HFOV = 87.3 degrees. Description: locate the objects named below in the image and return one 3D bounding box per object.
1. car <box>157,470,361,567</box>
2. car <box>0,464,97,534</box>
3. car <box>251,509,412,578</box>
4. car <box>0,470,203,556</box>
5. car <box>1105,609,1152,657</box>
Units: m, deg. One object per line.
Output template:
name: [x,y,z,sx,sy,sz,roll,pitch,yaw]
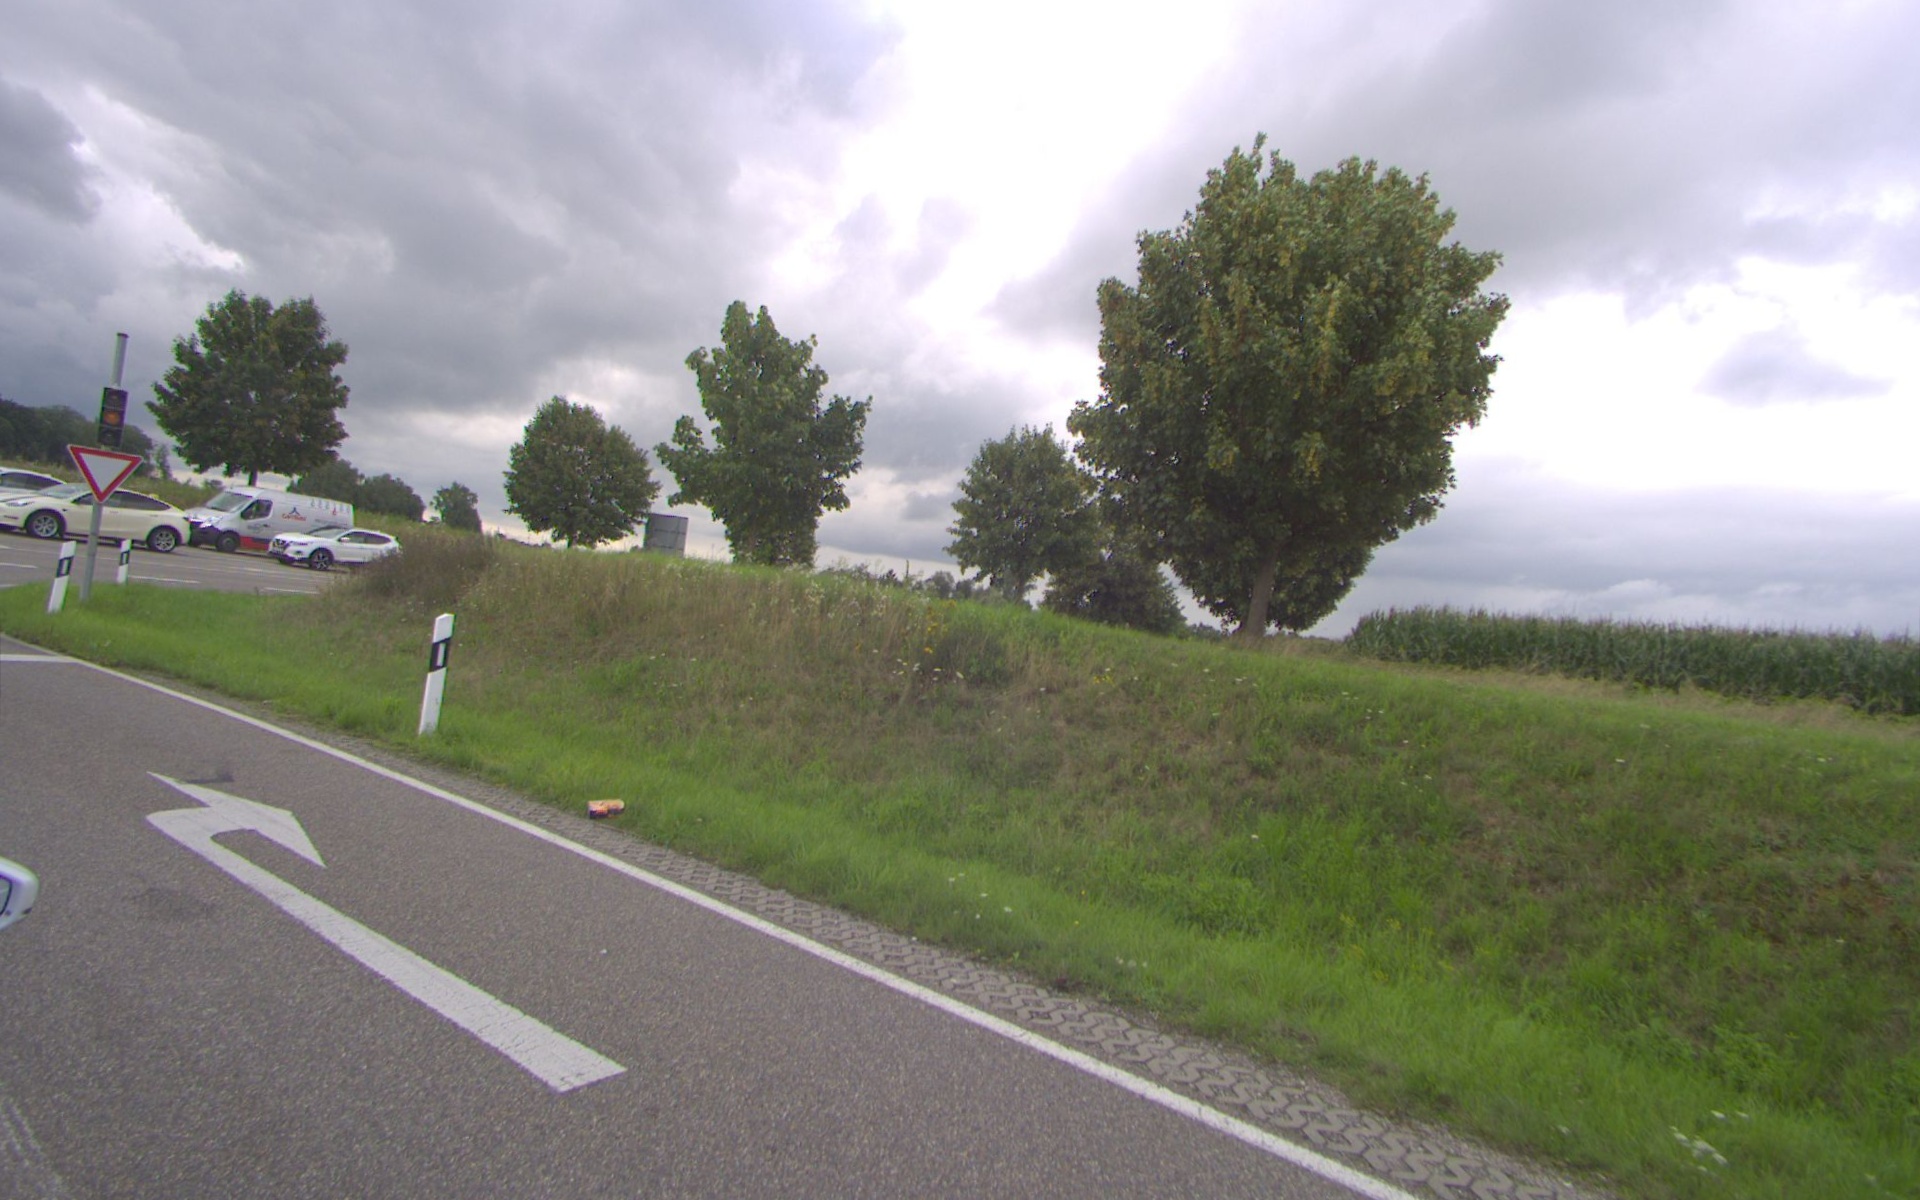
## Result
car: [-25.356,-2.857,36.692,2.354,2.470,5.517,8,-2,20]
car: [-27.830,-3.104,28.737,1.963,1.647,4.278,8,-2,19]
car: [-21.796,-1.928,35.087,1.963,1.648,4.326,8,-2,20]
car: [-24.144,-2.398,27.784,1.963,1.582,4.752,8,-2,20]
car: [8.569,1.726,51.031,1.962,2.037,4.005,7,-2,12]
